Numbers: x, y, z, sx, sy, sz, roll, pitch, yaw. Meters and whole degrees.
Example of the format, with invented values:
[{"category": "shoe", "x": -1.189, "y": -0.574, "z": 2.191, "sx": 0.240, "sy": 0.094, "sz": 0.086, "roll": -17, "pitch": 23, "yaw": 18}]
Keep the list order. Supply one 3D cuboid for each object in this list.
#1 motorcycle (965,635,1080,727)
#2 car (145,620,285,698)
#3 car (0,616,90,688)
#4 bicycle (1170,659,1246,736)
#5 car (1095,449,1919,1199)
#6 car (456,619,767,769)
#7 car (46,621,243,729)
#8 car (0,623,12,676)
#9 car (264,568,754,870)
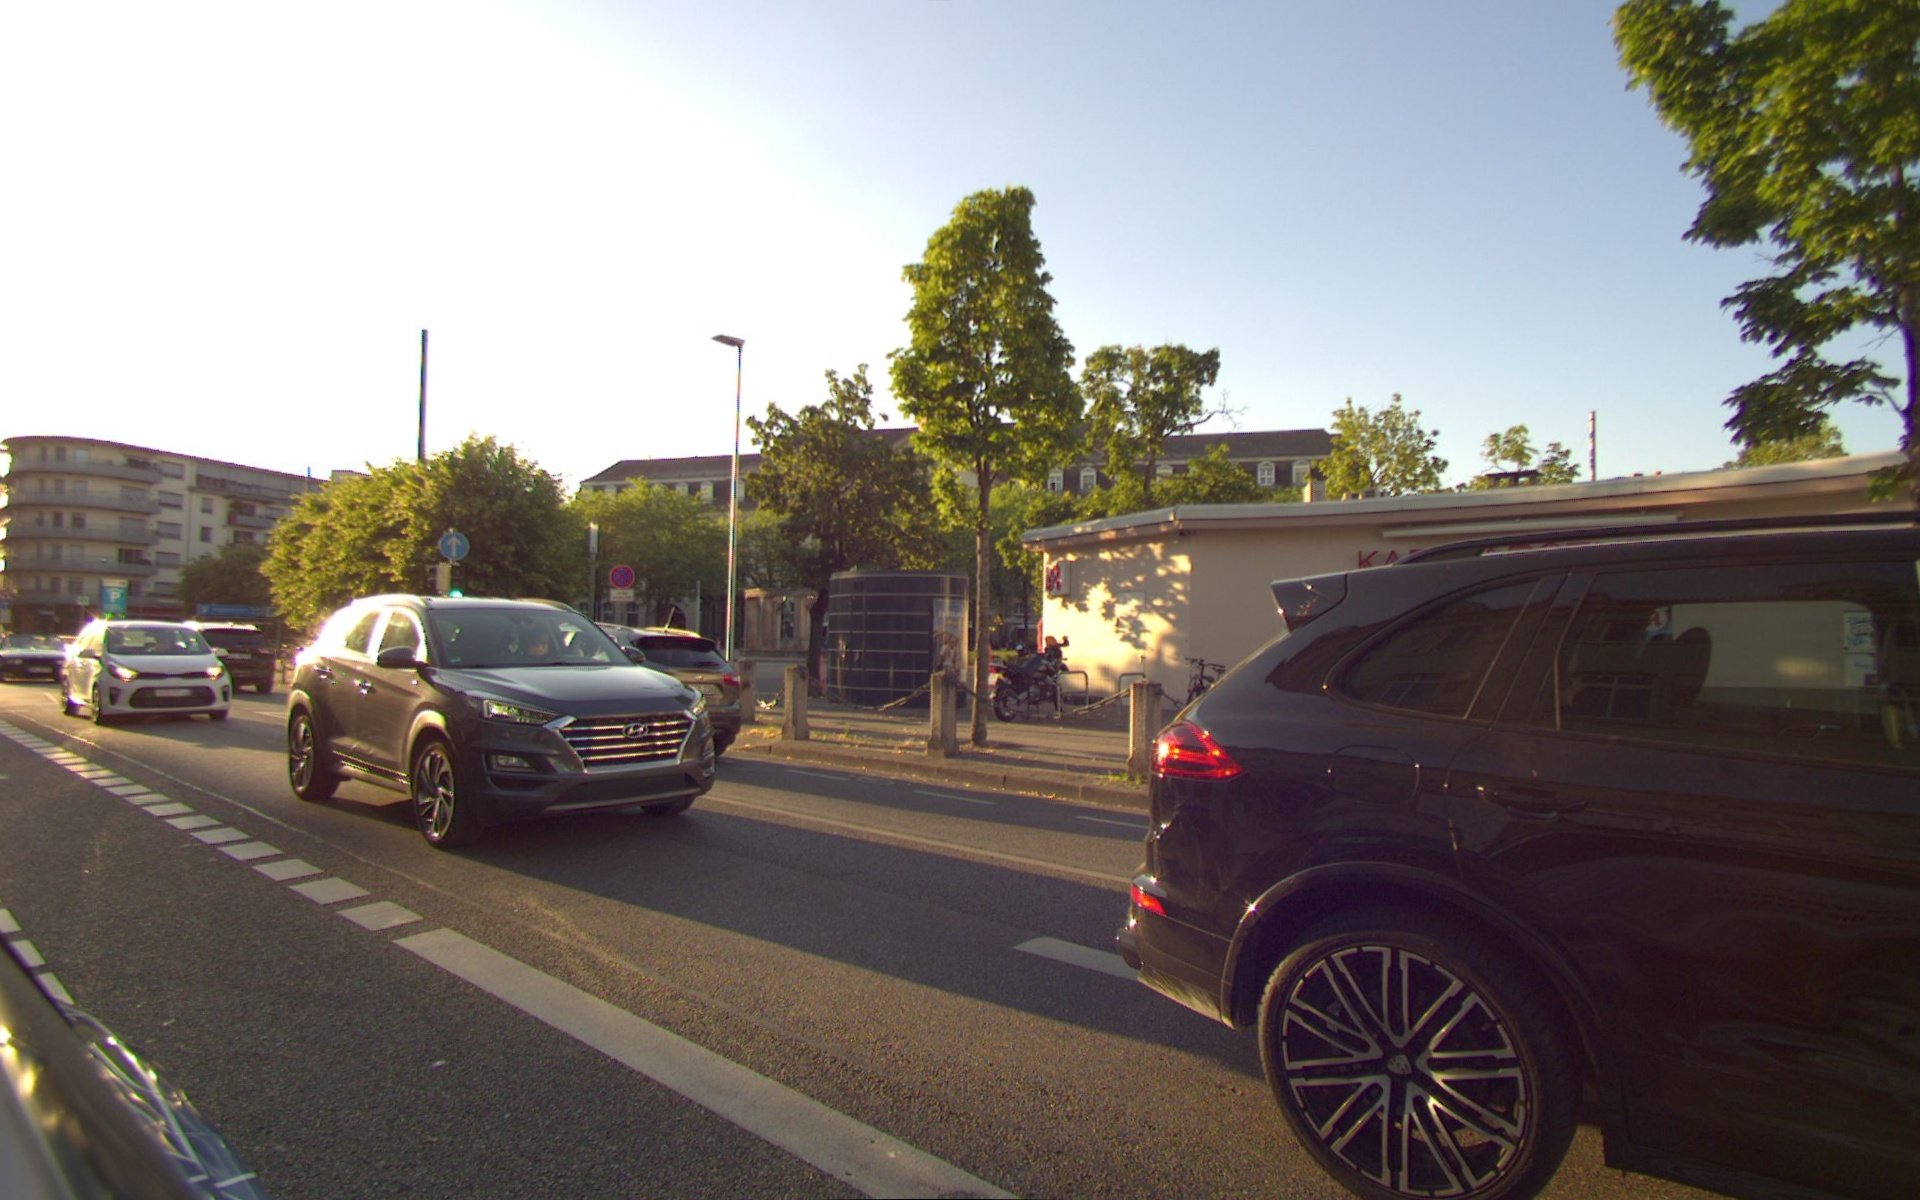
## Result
[{"category": "motorcycle", "x": 1.116, "y": 1.357, "z": 17.297, "sx": 0.700, "sy": 1.457, "sz": 2.368, "roll": -2, "pitch": -4, "yaw": 39}, {"category": "car", "x": -18.205, "y": 1.416, "z": 24.664, "sx": 3.983, "sy": 1.711, "sz": 1.804, "roll": -2, "pitch": -6, "yaw": 41}, {"category": "car", "x": -24.624, "y": 1.363, "z": 26.765, "sx": 3.983, "sy": 1.754, "sz": 1.803, "roll": -2, "pitch": -5, "yaw": 41}, {"category": "bicycle", "x": 3.840, "y": 1.471, "z": 15.568, "sx": 0.395, "sy": 1.111, "sz": 1.787, "roll": -2, "pitch": -4, "yaw": 39}, {"category": "car", "x": 2.691, "y": 0.599, "z": 2.152, "sx": 4.566, "sy": 1.711, "sz": 1.781, "roll": -2, "pitch": -3, "yaw": 41}, {"category": "car", "x": -4.472, "y": 1.114, "z": 12.755, "sx": 3.996, "sy": 1.593, "sz": 1.804, "roll": -1, "pitch": -7, "yaw": 40}, {"category": "car", "x": -12.803, "y": 1.107, "z": 15.810, "sx": 3.983, "sy": 1.483, "sz": 1.696, "roll": -2, "pitch": -4, "yaw": 41}, {"category": "car", "x": -33.675, "y": 1.622, "z": 34.259, "sx": 3.983, "sy": 1.754, "sz": 1.803, "roll": -2, "pitch": -5, "yaw": 41}, {"category": "car", "x": -3.655, "y": 0.756, "z": 7.832, "sx": 4.257, "sy": 1.711, "sz": 1.804, "roll": -2, "pitch": -4, "yaw": 41}]
